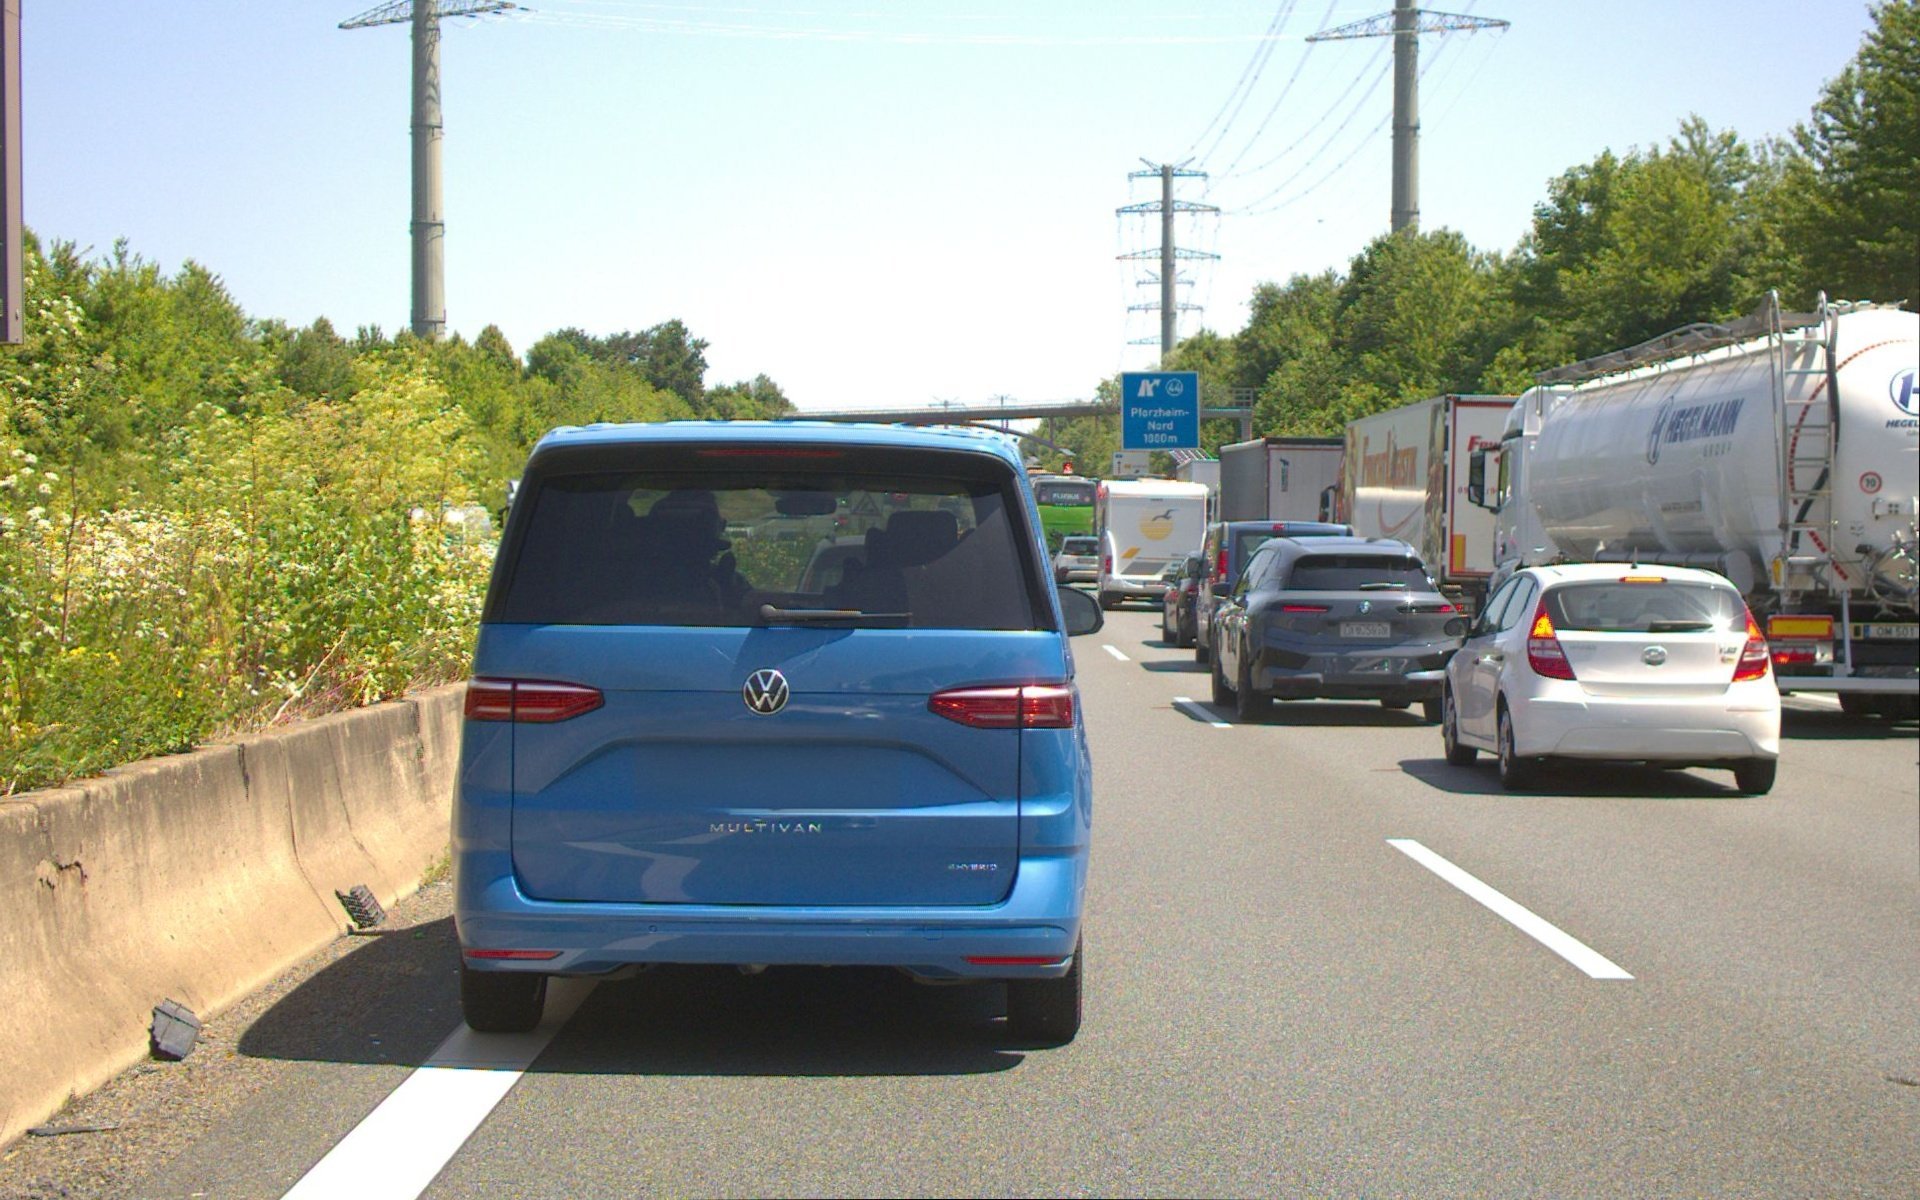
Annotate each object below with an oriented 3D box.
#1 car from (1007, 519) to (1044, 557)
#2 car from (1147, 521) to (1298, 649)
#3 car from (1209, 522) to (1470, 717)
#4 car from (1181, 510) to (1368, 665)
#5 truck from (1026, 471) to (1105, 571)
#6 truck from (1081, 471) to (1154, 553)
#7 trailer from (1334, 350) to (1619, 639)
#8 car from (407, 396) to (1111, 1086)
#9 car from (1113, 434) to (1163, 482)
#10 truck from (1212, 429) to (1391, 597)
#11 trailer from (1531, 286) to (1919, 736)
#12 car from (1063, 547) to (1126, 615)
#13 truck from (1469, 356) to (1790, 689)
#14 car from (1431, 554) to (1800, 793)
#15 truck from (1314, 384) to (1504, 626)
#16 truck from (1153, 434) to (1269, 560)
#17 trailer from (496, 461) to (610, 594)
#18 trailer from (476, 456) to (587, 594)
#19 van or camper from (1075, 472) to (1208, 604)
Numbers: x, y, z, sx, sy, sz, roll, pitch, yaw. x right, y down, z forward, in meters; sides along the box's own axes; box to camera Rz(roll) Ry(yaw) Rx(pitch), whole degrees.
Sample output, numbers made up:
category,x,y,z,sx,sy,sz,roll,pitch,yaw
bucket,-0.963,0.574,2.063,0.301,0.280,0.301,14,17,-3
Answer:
category,x,y,z,sx,sy,sz,roll,pitch,yaw
car,3.776,-3.586,199.414,1.993,2.118,4.000,0,0,-1
car,4.126,-0.227,54.598,1.923,1.919,4.236,-1,0,-2
car,3.514,0.169,32.647,1.999,1.709,4.625,0,0,1
car,4.099,-0.156,45.445,1.923,1.919,4.236,-1,0,-2
truck,4.081,-3.039,134.744,2.895,3.754,10.140,0,0,1
truck,8.912,-4.975,196.143,3.566,4.502,10.294,0,0,-1
trailer,8.635,-1.707,59.134,2.912,4.453,12.155,0,1,-1
car,-0.562,0.357,11.552,1.920,1.880,4.000,1,1,0
car,7.913,-6.321,153.017,1.993,2.007,4.000,0,0,0
truck,8.220,-1.998,84.772,3.006,3.753,15.713,0,0,1
trailer,8.227,-0.835,35.077,2.761,3.831,11.487,0,1,-1
car,4.091,-0.572,105.253,1.836,1.992,4.000,-1,0,1
truck,8.116,-0.927,42.342,2.793,3.823,5.572,0,1,-1
car,4.363,0.457,23.452,1.817,1.480,4.000,0,0,1
truck,8.564,-1.786,66.148,2.912,4.453,5.143,0,1,-1
truck,7.992,-3.209,110.899,2.895,3.753,13.345,0,0,1
trailer,-15.977,-2.798,135.696,3.322,5.030,9.591,0,0,0
trailer,-15.990,-2.746,128.656,3.322,5.030,6.704,0,0,0
van or camper,4.275,-1.439,82.151,2.957,3.011,7.102,0,0,1
